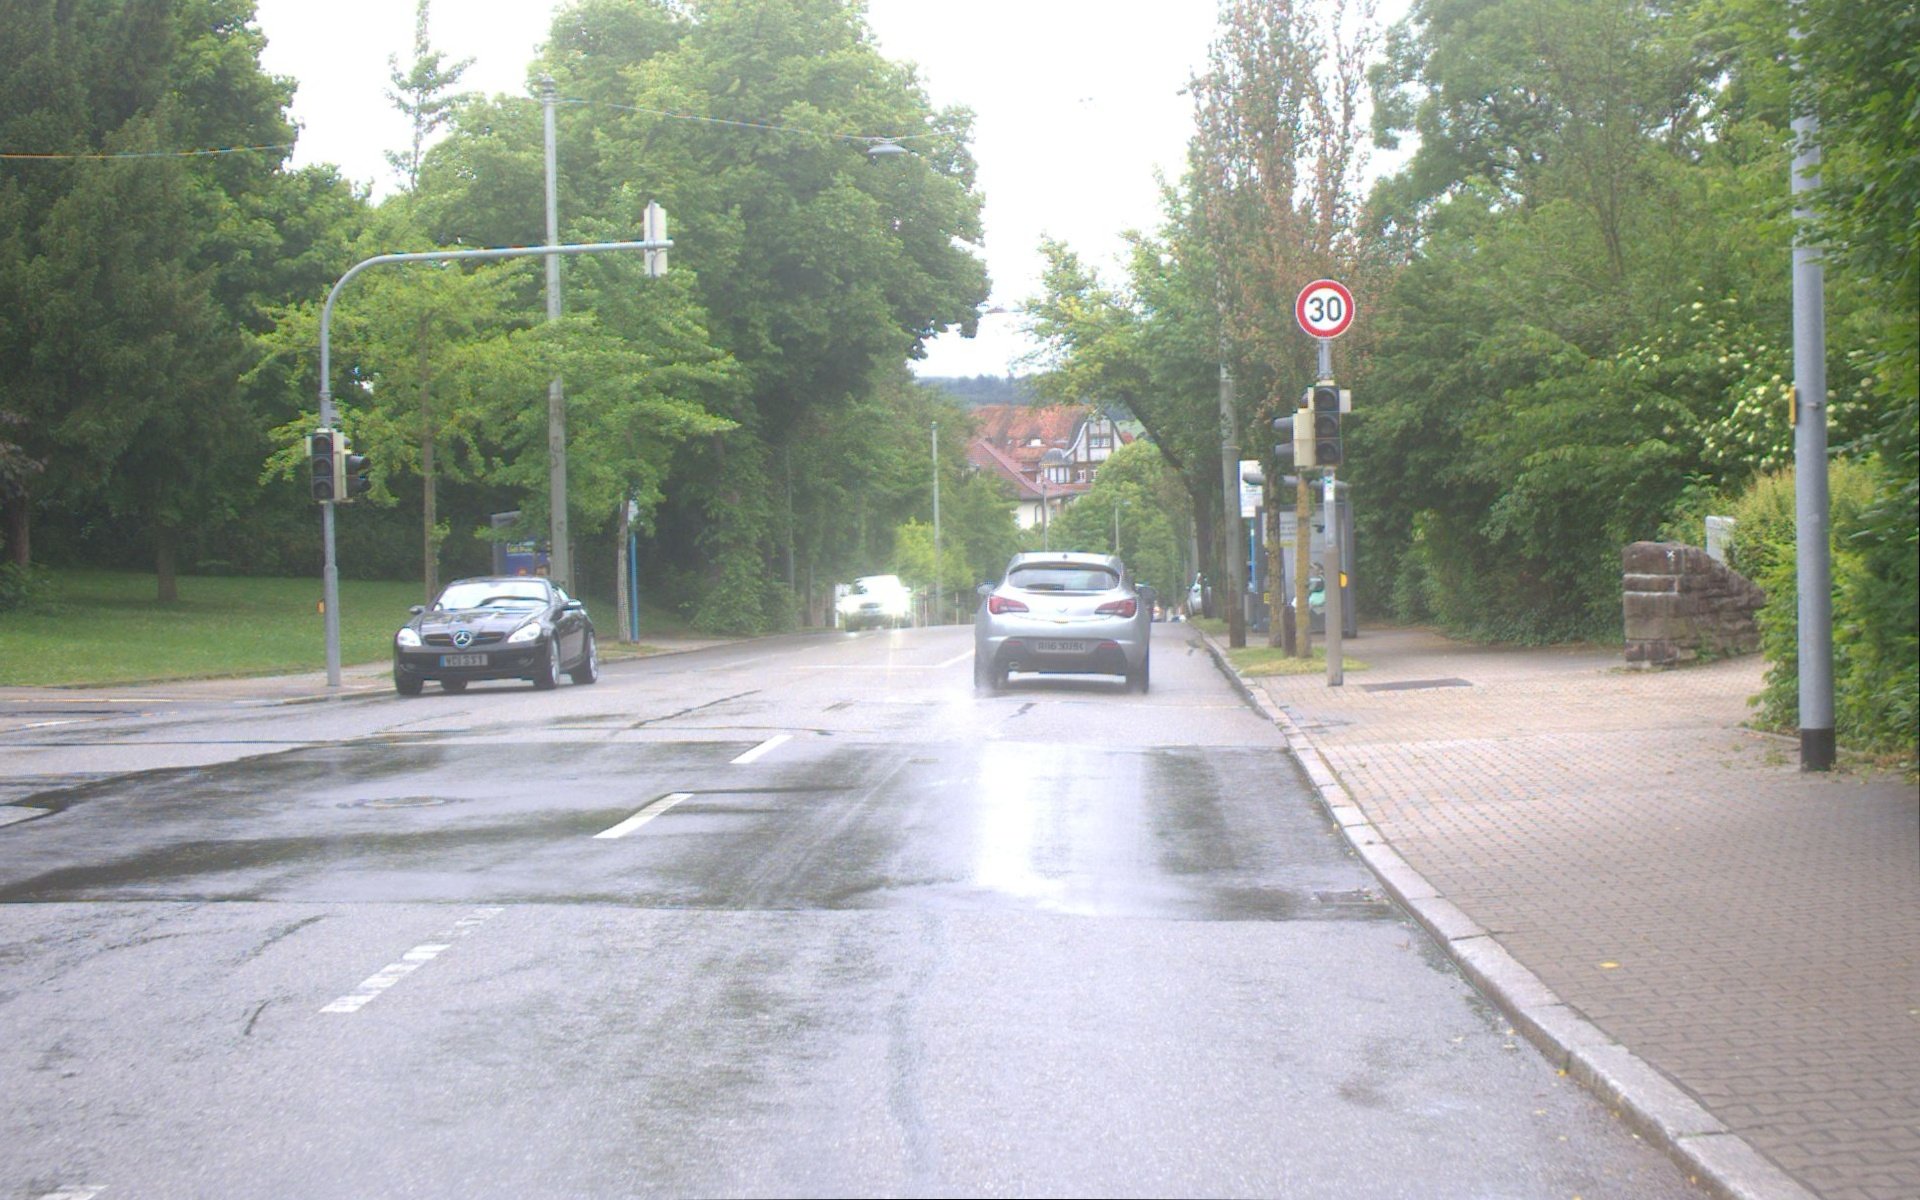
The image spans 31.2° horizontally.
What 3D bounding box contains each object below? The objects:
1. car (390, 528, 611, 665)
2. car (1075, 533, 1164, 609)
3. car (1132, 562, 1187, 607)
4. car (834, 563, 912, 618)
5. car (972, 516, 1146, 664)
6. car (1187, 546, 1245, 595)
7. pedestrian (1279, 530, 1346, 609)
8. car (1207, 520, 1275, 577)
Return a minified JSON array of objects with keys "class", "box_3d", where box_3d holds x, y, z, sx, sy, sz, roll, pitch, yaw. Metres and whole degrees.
[{"class":"car","box_3d":[-5.140,-0.081,38.938,1.661,1.302,4.083,-3,2,4]},{"class":"car","box_3d":[3.257,-0.611,70.871,1.721,1.459,4.000,2,1,2]},{"class":"car","box_3d":[6.872,-0.546,118.717,1.721,1.459,4.000,2,1,2]},{"class":"car","box_3d":[-2.306,-0.268,91.923,1.722,1.394,4.000,1,1,3]},{"class":"car","box_3d":[1.071,-0.153,37.142,1.754,1.459,4.000,1,2,2]},{"class":"car","box_3d":[8.094,-0.949,108.883,1.722,1.459,4.000,-2,1,4]},{"class":"pedestrian","box_3d":[6.252,-0.552,60.915,1.074,1.351,0.918,-2,1,10]},{"class":"car","box_3d":[7.627,-1.410,93.647,1.722,1.459,4.000,-2,1,4]}]
